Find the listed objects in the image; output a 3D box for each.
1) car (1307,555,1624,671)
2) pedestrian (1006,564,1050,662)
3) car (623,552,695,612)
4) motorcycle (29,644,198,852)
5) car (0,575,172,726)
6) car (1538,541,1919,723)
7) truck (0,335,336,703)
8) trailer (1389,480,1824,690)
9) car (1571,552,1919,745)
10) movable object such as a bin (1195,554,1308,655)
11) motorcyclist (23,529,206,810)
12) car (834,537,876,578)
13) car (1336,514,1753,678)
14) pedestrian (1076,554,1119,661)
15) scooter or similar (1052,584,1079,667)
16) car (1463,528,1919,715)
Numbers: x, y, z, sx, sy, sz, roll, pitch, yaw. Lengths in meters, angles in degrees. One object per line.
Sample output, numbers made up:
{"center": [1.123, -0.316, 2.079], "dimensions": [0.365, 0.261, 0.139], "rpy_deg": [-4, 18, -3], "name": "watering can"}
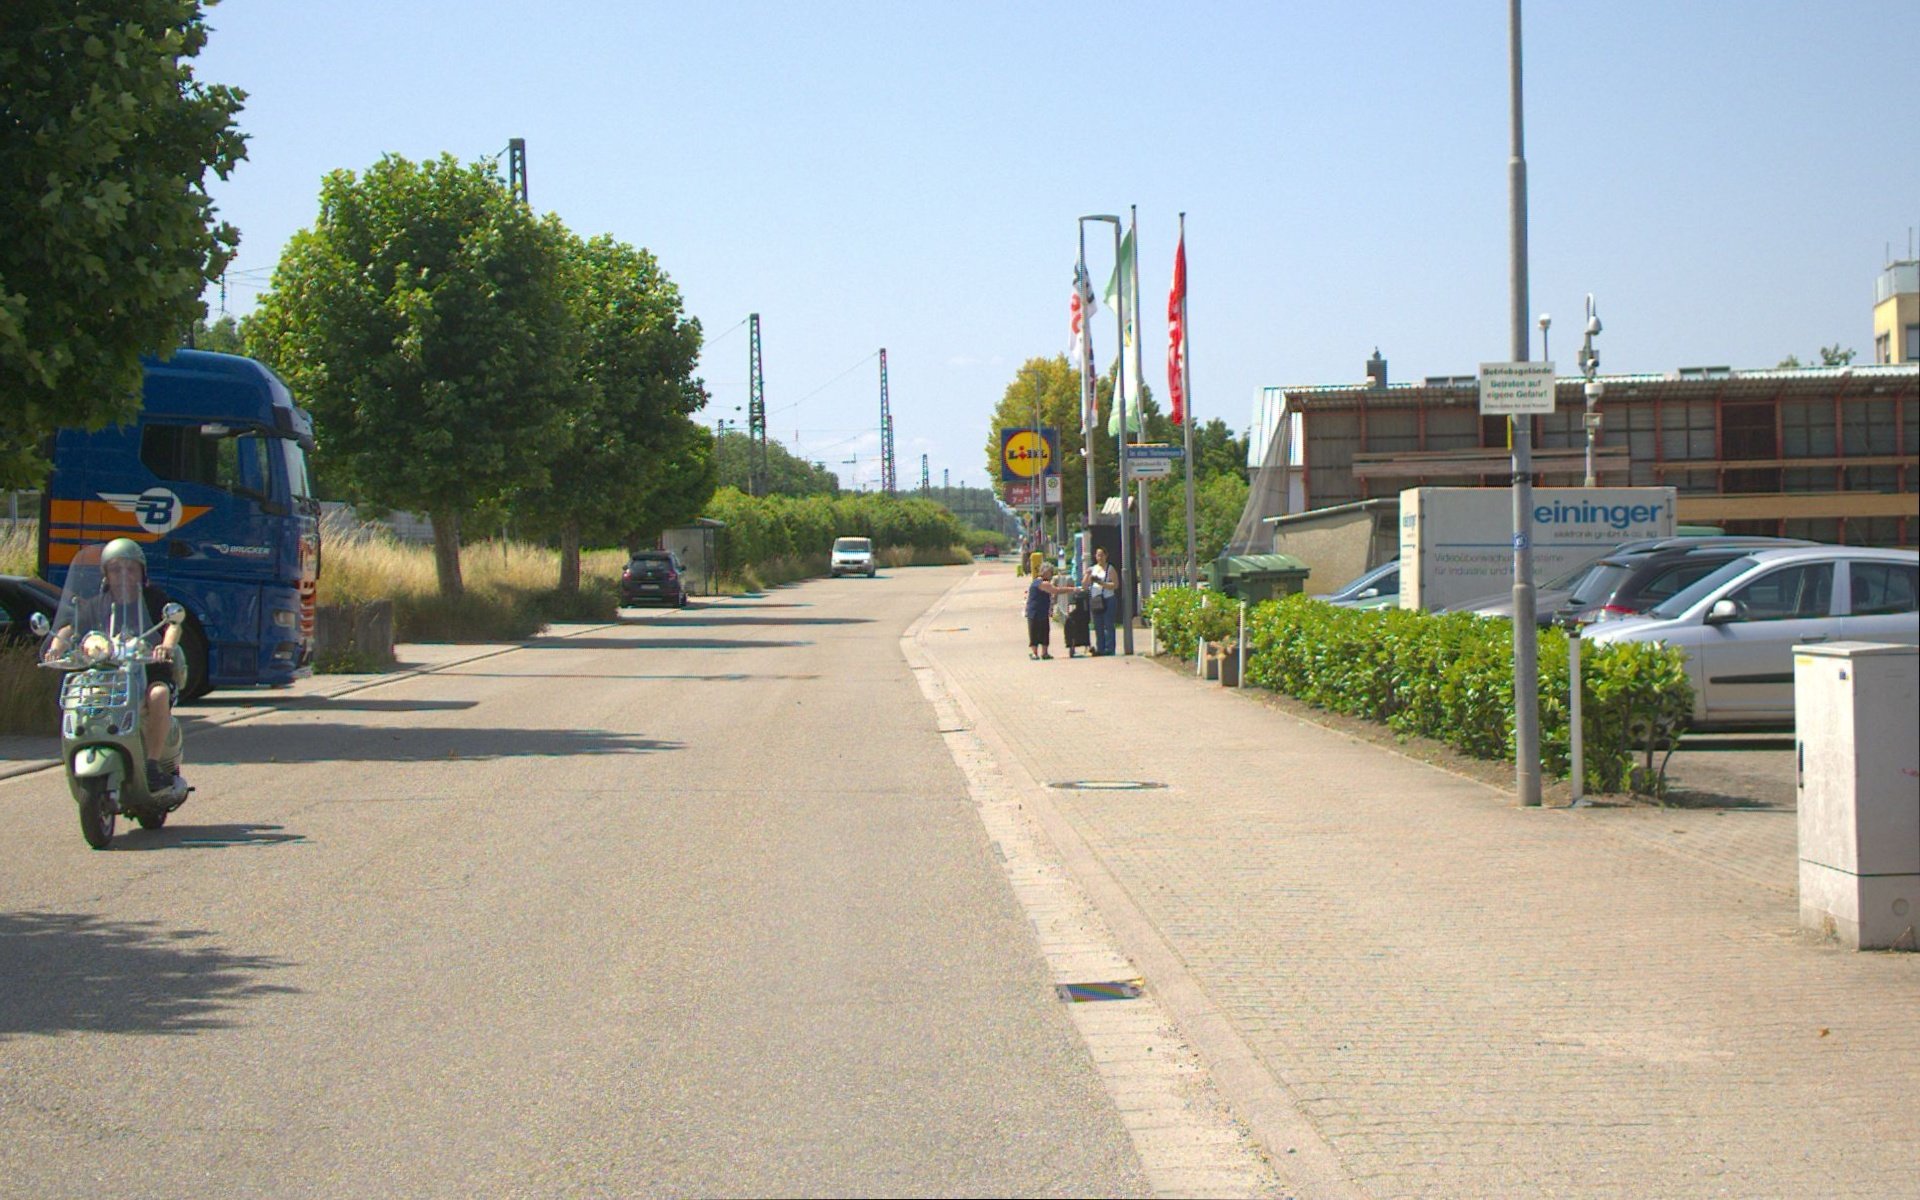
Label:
{"center": [6.536, 0.155, 44.722], "dimensions": [3.845, 1.450, 1.817], "rpy_deg": [0, 1, 0], "name": "car"}
{"center": [1.001, 0.195, 50.435], "dimensions": [0.565, 1.400, 0.584], "rpy_deg": [-2, -1, -2], "name": "pedestrian"}
{"center": [-8.383, -0.517, 95.967], "dimensions": [1.741, 1.590, 3.580], "rpy_deg": [-1, 1, -1], "name": "car"}
{"center": [-4.646, 0.785, 18.967], "dimensions": [0.463, 1.047, 1.955], "rpy_deg": [-1, 0, -1], "name": "motorcycle"}
{"center": [-9.879, 0.483, 33.058], "dimensions": [4.208, 1.390, 1.872], "rpy_deg": [-1, 1, -3], "name": "car"}
{"center": [7.253, 0.237, 28.703], "dimensions": [4.473, 1.435, 1.815], "rpy_deg": [-1, 1, -4], "name": "car"}
{"center": [-10.266, -0.842, 37.109], "dimensions": [6.613, 3.810, 2.664], "rpy_deg": [-1, 1, -3], "name": "truck"}
{"center": [6.433, -0.160, 34.533], "dimensions": [3.987, 2.007, 2.000], "rpy_deg": [-1, 1, 1], "name": "trailer"}
{"center": [6.465, 0.343, 26.170], "dimensions": [3.353, 1.397, 1.769], "rpy_deg": [0, 1, 2], "name": "car"}
{"center": [4.244, 0.058, 50.102], "dimensions": [1.263, 1.453, 1.049], "rpy_deg": [0, 1, -38], "name": "movable object such as a bin"}
{"center": [-4.654, 0.367, 18.973], "dimensions": [0.775, 1.504, 0.921], "rpy_deg": [-1, 1, -1], "name": "motorcyclist"}
{"center": [-4.861, -1.985, 159.475], "dimensions": [1.838, 1.852, 4.484], "rpy_deg": [-1, 1, 0], "name": "car"}
{"center": [6.424, -0.025, 38.069], "dimensions": [4.212, 1.628, 1.801], "rpy_deg": [-2, -1, -2], "name": "car"}
{"center": [2.014, 0.108, 50.269], "dimensions": [0.535, 1.534, 0.511], "rpy_deg": [-2, -1, -2], "name": "pedestrian"}
{"center": [1.549, 0.376, 50.464], "dimensions": [0.334, 1.194, 0.398], "rpy_deg": [-2, -1, 0], "name": "scooter or similar"}
{"center": [6.919, 0.208, 32.127], "dimensions": [4.033, 1.569, 1.714], "rpy_deg": [-2, -1, -6], "name": "car"}
